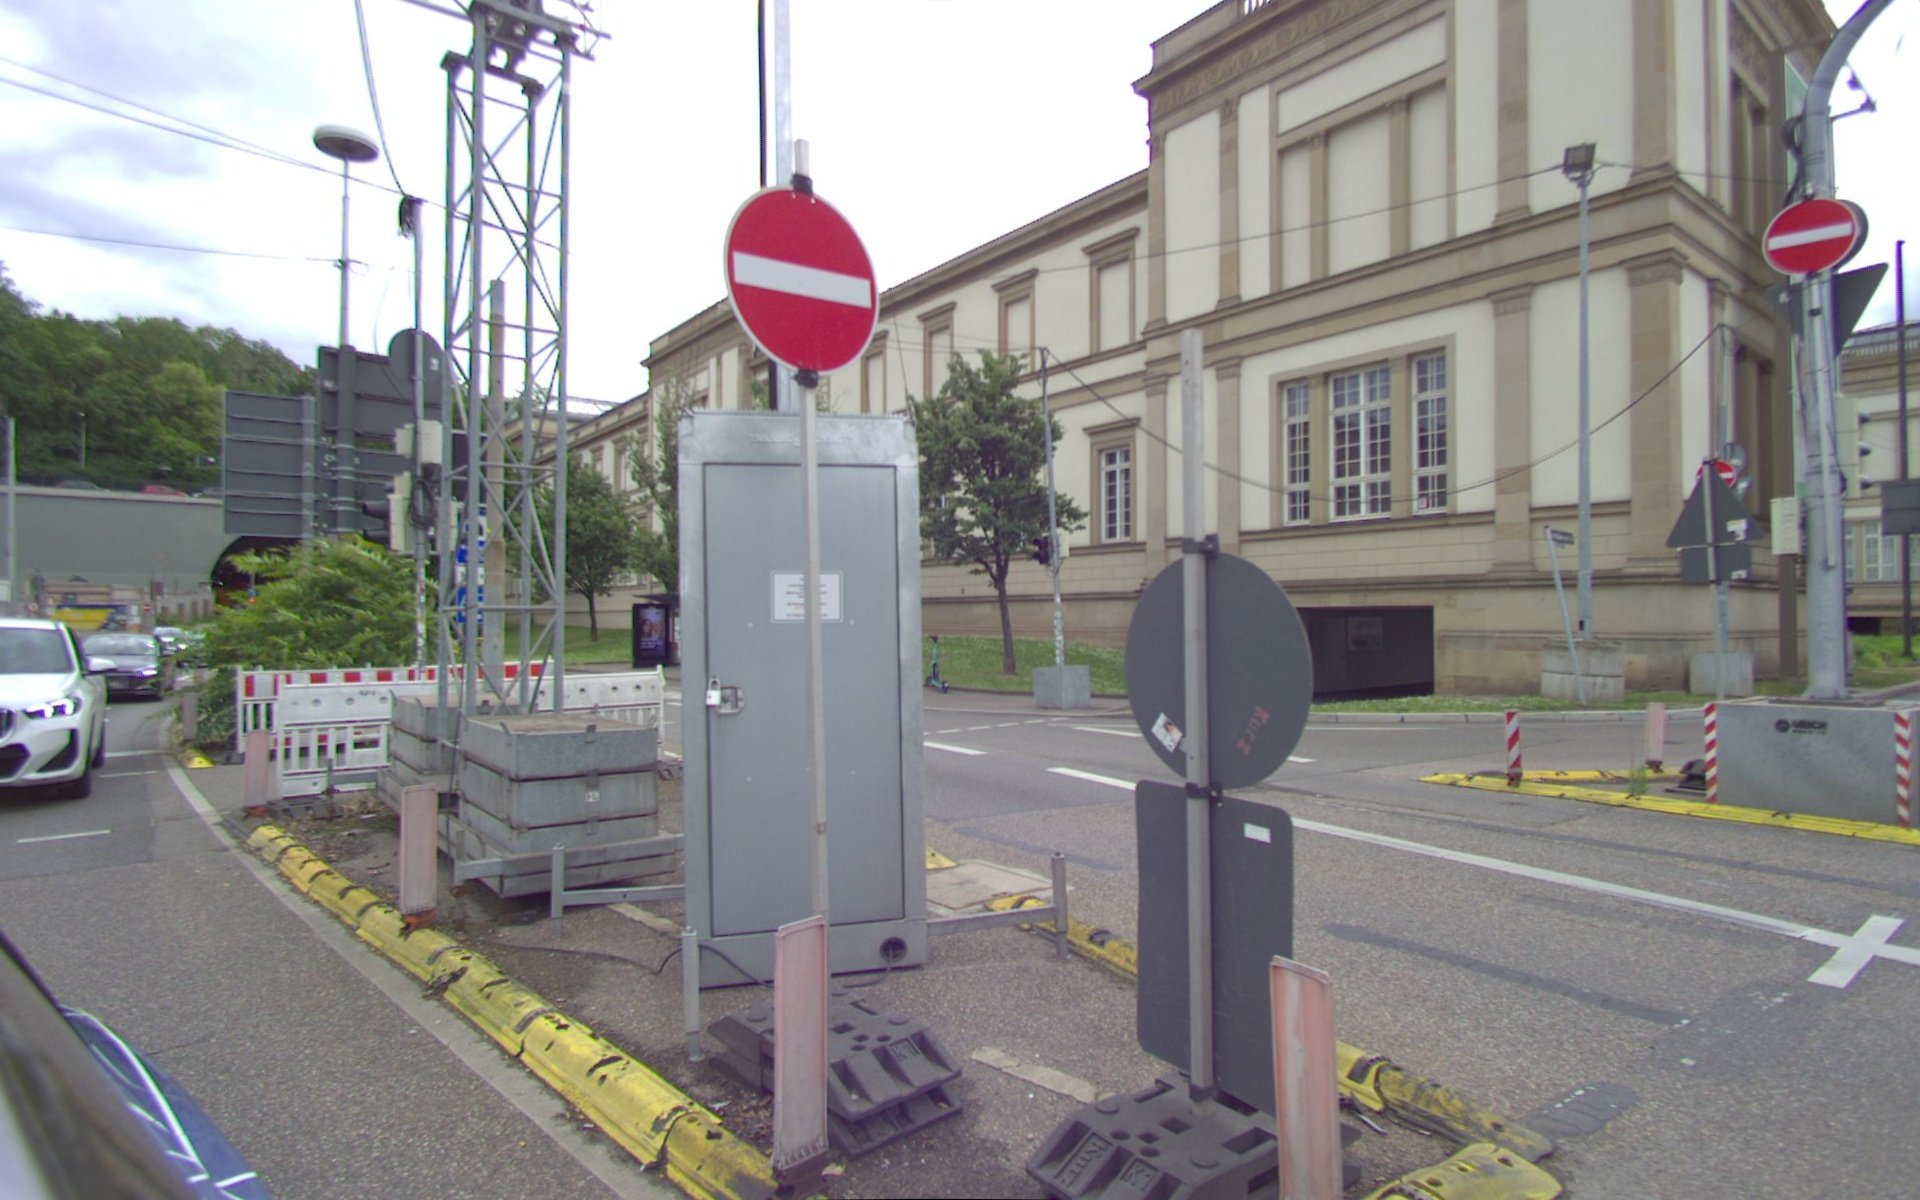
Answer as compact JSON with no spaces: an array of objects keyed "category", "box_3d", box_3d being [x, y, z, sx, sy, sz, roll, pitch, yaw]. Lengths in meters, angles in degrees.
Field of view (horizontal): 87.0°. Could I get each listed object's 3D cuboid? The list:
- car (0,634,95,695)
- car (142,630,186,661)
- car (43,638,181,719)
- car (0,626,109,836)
[{"category":"car","box_3d":[-25.511,1.753,28.207,1.664,1.586,4.004,1,-3,-34]},{"category":"car","box_3d":[-41.689,2.366,53.047,1.543,1.586,3.298,1,-3,-34]},{"category":"car","box_3d":[-18.431,1.638,22.177,1.967,1.564,4.009,1,-2,-35]},{"category":"car","box_3d":[-8.852,1.068,9.026,1.784,1.617,3.720,2,-3,-38]}]
